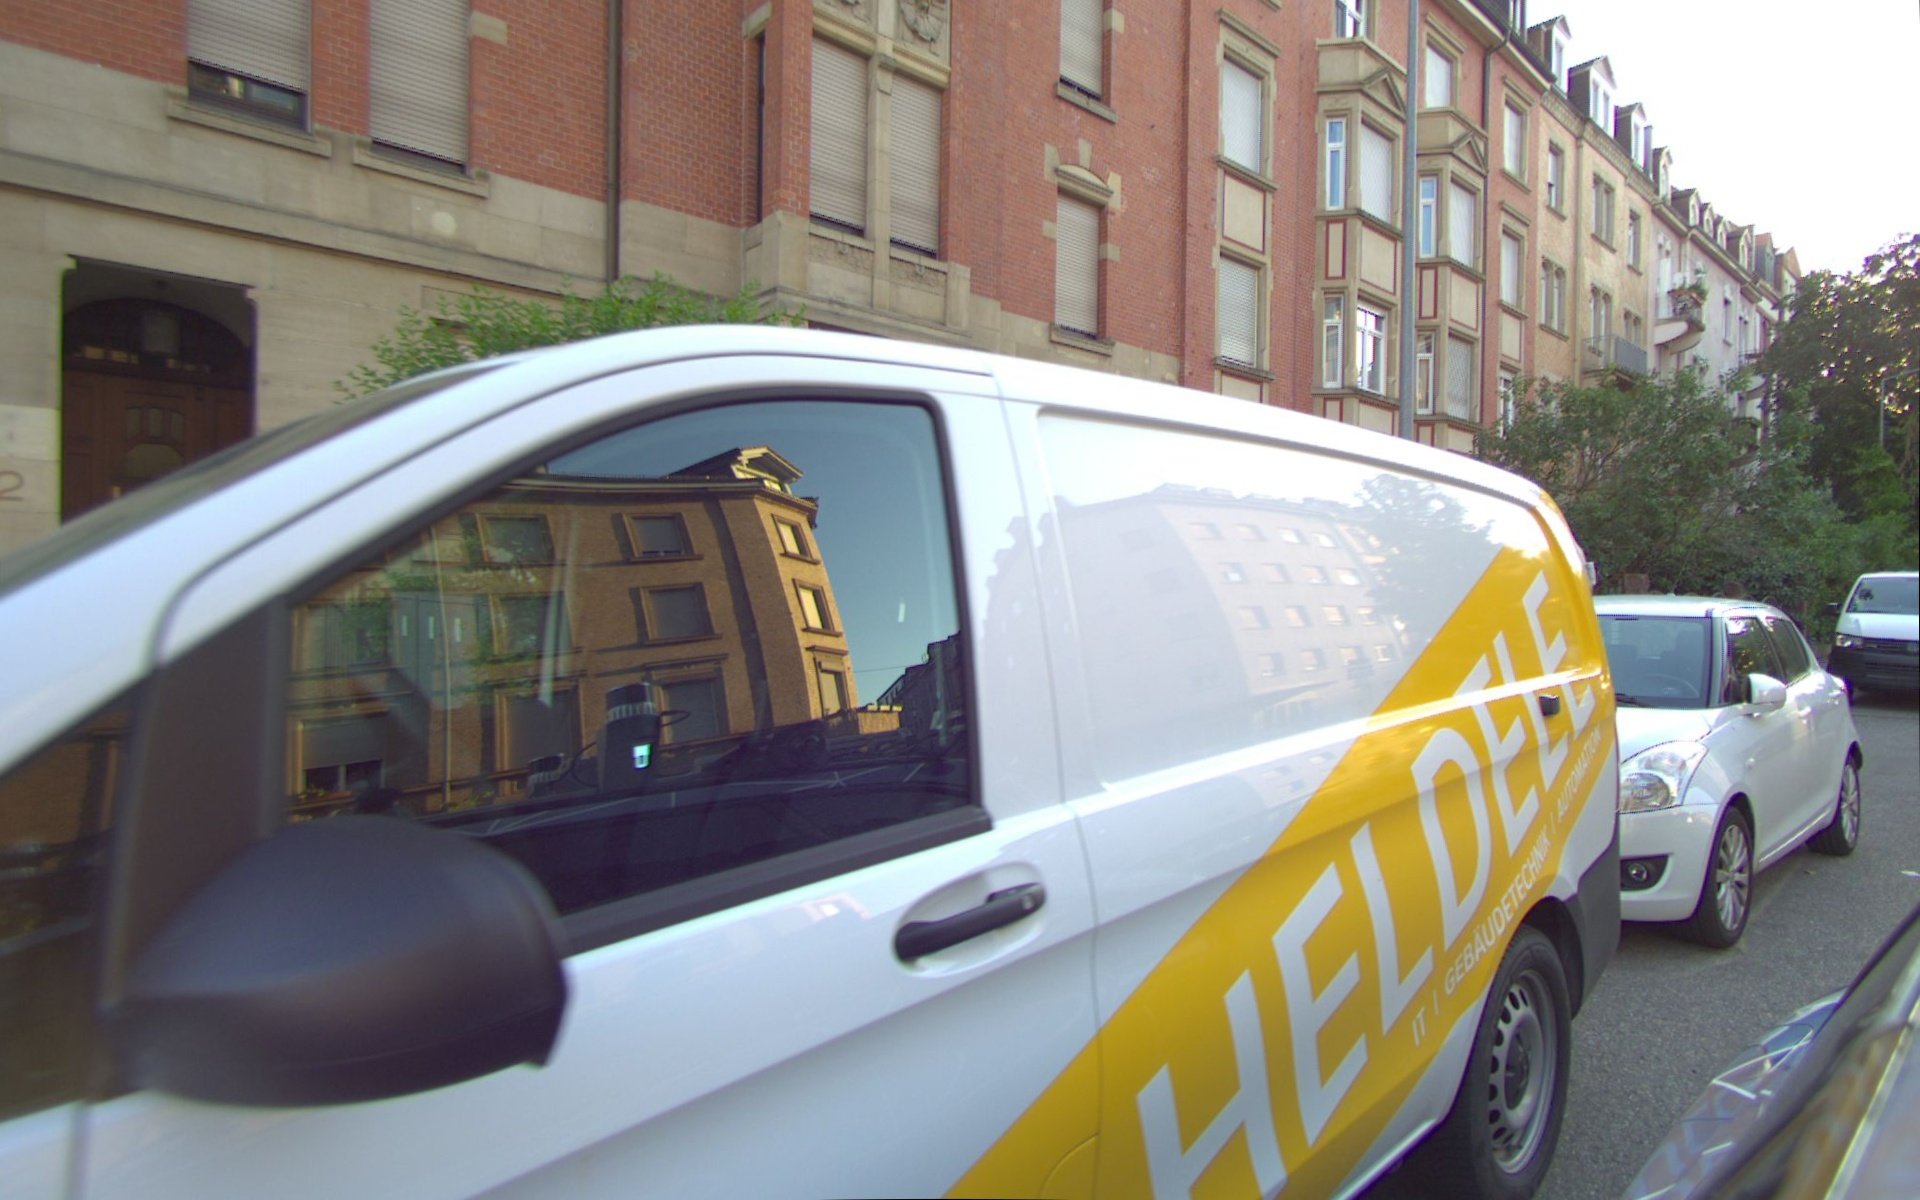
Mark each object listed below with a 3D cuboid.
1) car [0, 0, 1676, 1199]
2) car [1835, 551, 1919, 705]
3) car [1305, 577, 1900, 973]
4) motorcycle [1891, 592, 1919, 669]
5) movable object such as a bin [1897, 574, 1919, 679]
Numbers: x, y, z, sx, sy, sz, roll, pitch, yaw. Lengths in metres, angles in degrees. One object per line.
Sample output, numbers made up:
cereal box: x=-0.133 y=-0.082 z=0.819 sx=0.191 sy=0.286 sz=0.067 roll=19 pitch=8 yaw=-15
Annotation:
car: x=-0.320 y=0.458 z=2.126 sx=4.994 sy=1.907 sz=1.896 roll=0 pitch=0 yaw=-41
car: x=15.070 y=0.382 z=15.462 sx=5.450 sy=2.064 sz=1.865 roll=0 pitch=3 yaw=-42
car: x=3.753 y=0.647 z=5.670 sx=3.791 sy=1.495 sz=1.679 roll=0 pitch=0 yaw=-38
motorcycle: x=20.024 y=0.651 z=19.960 sx=2.066 sy=1.500 sz=1.128 roll=2 pitch=2 yaw=16
movable object such as a bin: x=18.585 y=0.498 z=18.826 sx=2.285 sy=1.901 sz=1.415 roll=0 pitch=3 yaw=-42
